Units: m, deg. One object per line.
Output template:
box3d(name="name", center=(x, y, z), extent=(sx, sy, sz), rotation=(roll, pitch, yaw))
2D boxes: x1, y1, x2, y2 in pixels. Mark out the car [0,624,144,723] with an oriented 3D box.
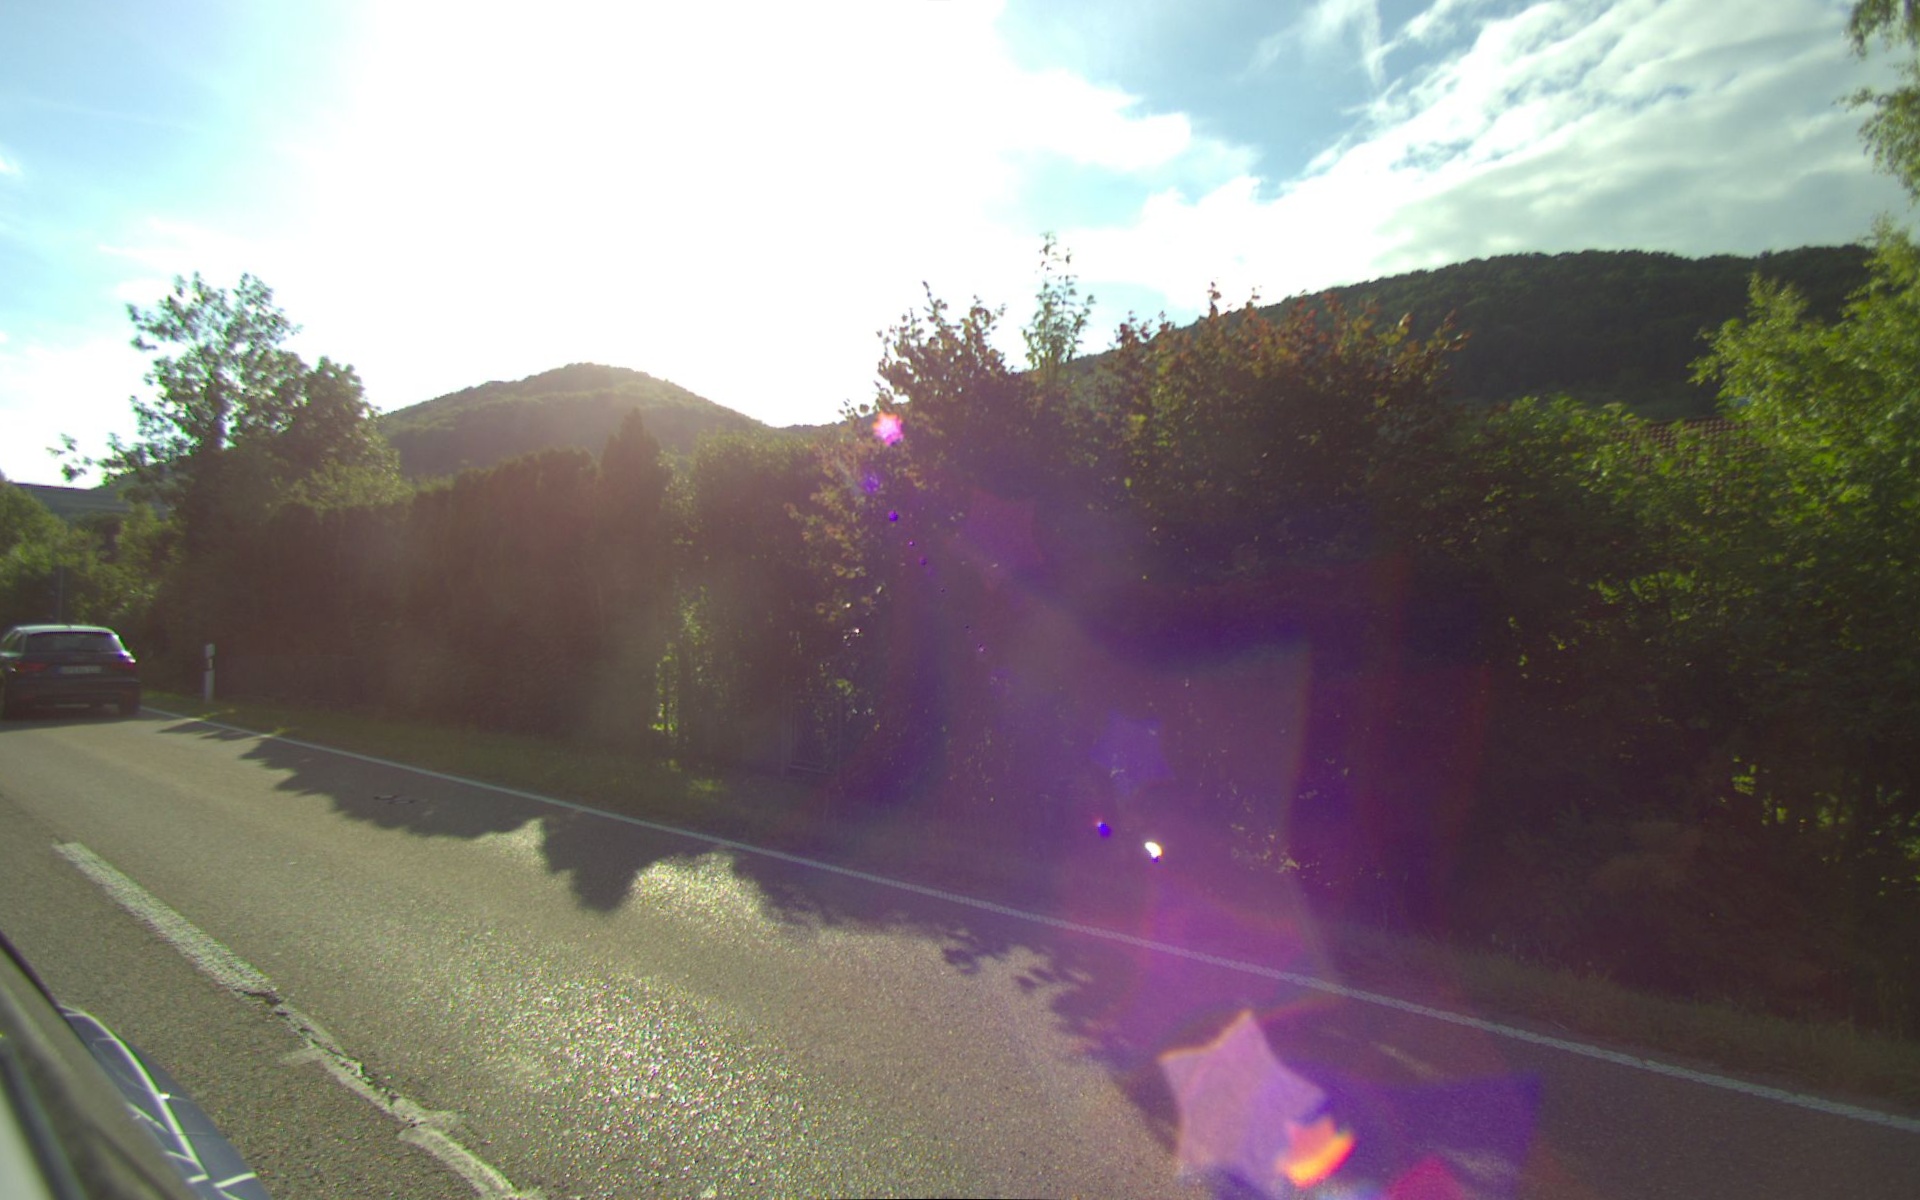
box3d(name="car", center=(-14.716, 1.118, 16.426), extent=(3.787, 1.426, 1.610), rotation=(-2, -3, 41))
